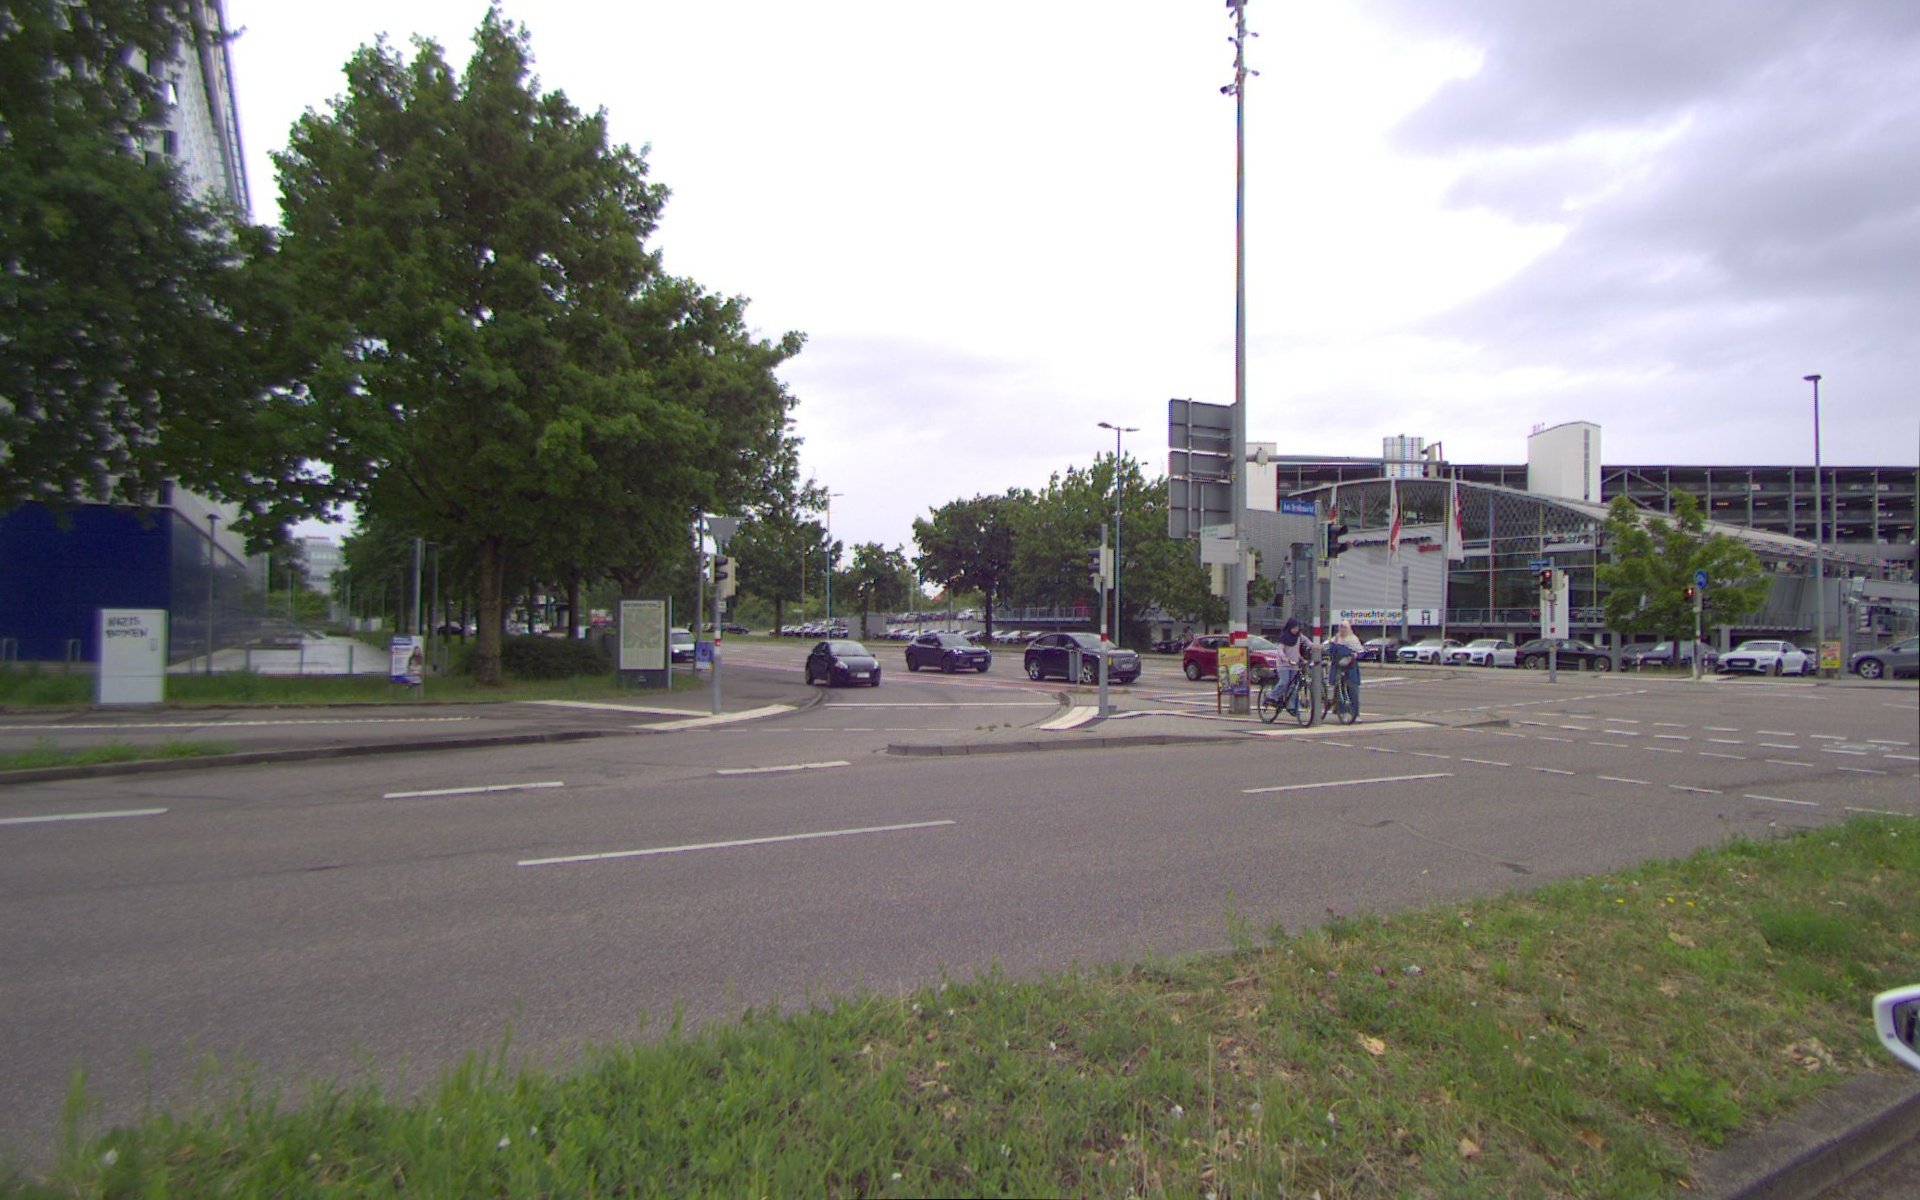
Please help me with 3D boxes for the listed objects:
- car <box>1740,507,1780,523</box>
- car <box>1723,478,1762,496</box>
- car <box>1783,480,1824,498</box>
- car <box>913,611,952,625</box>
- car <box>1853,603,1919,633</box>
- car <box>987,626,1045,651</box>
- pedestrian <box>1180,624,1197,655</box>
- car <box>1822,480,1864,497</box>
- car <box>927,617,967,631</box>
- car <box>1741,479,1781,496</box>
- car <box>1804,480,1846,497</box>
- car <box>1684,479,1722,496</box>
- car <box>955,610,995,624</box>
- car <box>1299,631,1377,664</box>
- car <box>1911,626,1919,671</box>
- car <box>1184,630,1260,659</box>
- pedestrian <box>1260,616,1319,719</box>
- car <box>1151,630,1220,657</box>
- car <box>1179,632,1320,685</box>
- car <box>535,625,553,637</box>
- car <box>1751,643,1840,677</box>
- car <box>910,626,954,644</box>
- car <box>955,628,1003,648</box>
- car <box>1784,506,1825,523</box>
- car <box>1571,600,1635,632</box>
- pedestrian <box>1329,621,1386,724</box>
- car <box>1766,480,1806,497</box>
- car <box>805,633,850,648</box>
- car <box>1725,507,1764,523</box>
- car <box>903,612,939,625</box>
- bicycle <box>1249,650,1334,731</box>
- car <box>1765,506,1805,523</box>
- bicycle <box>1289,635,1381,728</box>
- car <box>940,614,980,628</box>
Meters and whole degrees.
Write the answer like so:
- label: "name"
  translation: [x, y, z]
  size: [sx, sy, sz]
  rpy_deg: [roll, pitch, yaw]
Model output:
- label: "car"
  translation: [102.969, -10.947, 129.340]
  size: [1.960, 1.689, 4.001]
  rpy_deg: [1, -1, 3]
- label: "car"
  translation: [100.673, -14.517, 129.251]
  size: [1.960, 1.689, 4.001]
  rpy_deg: [1, -1, 3]
- label: "car"
  translation: [108.214, -14.235, 128.861]
  size: [1.960, 1.689, 4.001]
  rpy_deg: [1, -1, 3]
- label: "car"
  translation: [-3.324, 2.196, 121.519]
  size: [4.306, 1.516, 1.864]
  rpy_deg: [3, -1, -35]
- label: "car"
  translation: [63.691, 1.227, 68.356]
  size: [1.740, 1.862, 3.965]
  rpy_deg: [2, -1, -31]
- label: "car"
  translation: [4.449, 3.076, 79.785]
  size: [4.168, 1.505, 1.941]
  rpy_deg: [8, -3, -34]
- label: "pedestrian"
  translation: [14.001, 2.428, 61.497]
  size: [0.667, 1.895, 0.712]
  rpy_deg: [4, -3, -34]
- label: "car"
  translation: [113.021, -14.221, 128.554]
  size: [1.960, 1.689, 4.001]
  rpy_deg: [1, -1, 3]
- label: "car"
  translation: [-1.531, 2.832, 119.642]
  size: [4.306, 1.516, 1.951]
  rpy_deg: [3, -1, -35]
- label: "car"
  translation: [102.880, -14.429, 129.053]
  size: [1.960, 1.689, 4.001]
  rpy_deg: [1, -1, 3]
- label: "car"
  translation: [110.849, -14.316, 128.780]
  size: [1.960, 1.689, 4.001]
  rpy_deg: [1, -1, 3]
- label: "car"
  translation: [95.639, -14.466, 129.314]
  size: [1.960, 1.689, 4.001]
  rpy_deg: [1, -1, 3]
- label: "car"
  translation: [1.736, 1.965, 115.273]
  size: [4.306, 1.516, 1.864]
  rpy_deg: [3, -1, -35]
- label: "car"
  translation: [20.358, 2.558, 54.076]
  size: [4.148, 1.505, 1.891]
  rpy_deg: [5, -4, -34]
- label: "car"
  translation: [44.989, 2.116, 43.854]
  size: [1.981, 2.040, 4.742]
  rpy_deg: [3, -4, -35]
- label: "car"
  translation: [15.923, 2.726, 61.045]
  size: [4.617, 1.491, 1.830]
  rpy_deg: [5, -3, -34]
- label: "pedestrian"
  translation: [5.253, 1.072, 16.023]
  size: [0.642, 1.569, 0.649]
  rpy_deg: [3, -3, -7]
- label: "car"
  translation: [14.237, 2.741, 63.293]
  size: [4.175, 1.439, 1.838]
  rpy_deg: [4, -3, -34]
- label: "car"
  translation: [8.933, 1.782, 31.258]
  size: [1.723, 1.507, 4.039]
  rpy_deg: [1, -3, -35]
- label: "car"
  translation: [-65.680, 4.834, 158.605]
  size: [2.118, 1.684, 3.751]
  rpy_deg: [3, -1, -30]
- label: "car"
  translation: [52.166, 3.724, 62.789]
  size: [1.742, 1.862, 3.961]
  rpy_deg: [3, -1, -35]
- label: "car"
  translation: [-2.519, 3.164, 90.484]
  size: [3.639, 1.506, 1.696]
  rpy_deg: [3, -1, -34]
- label: "car"
  translation: [1.607, 3.176, 83.484]
  size: [3.639, 1.506, 1.696]
  rpy_deg: [3, -1, -34]
- label: "car"
  translation: [108.211, -10.924, 128.709]
  size: [1.960, 1.689, 4.001]
  rpy_deg: [1, -1, 3]
- label: "car"
  translation: [38.069, 0.959, 59.461]
  size: [3.960, 1.684, 1.808]
  rpy_deg: [3, -1, -35]
- label: "pedestrian"
  translation: [6.518, 1.181, 16.499]
  size: [0.628, 1.648, 0.692]
  rpy_deg: [0, -2, 1]
- label: "car"
  translation: [105.942, -14.328, 128.881]
  size: [1.960, 1.689, 4.001]
  rpy_deg: [1, -1, 3]
- label: "car"
  translation: [-14.514, 4.460, 110.138]
  size: [4.413, 1.592, 1.982]
  rpy_deg: [1, -1, -34]
- label: "car"
  translation: [100.759, -10.903, 129.096]
  size: [1.960, 1.689, 4.001]
  rpy_deg: [1, -1, 3]
- label: "car"
  translation: [-4.809, 2.285, 123.667]
  size: [4.057, 1.516, 1.713]
  rpy_deg: [3, -1, -35]
- label: "bicycle"
  translation: [5.258, 1.407, 16.047]
  size: [0.499, 1.181, 1.946]
  rpy_deg: [3, -3, -7]
- label: "car"
  translation: [105.753, -10.957, 128.833]
  size: [1.960, 1.689, 4.001]
  rpy_deg: [1, -1, 3]
- label: "bicycle"
  translation: [6.081, 1.281, 16.404]
  size: [0.586, 1.414, 1.932]
  rpy_deg: [0, -2, -6]
- label: "car"
  translation: [0.036, 2.487, 117.628]
  size: [4.306, 1.516, 2.049]
  rpy_deg: [3, -1, -35]
